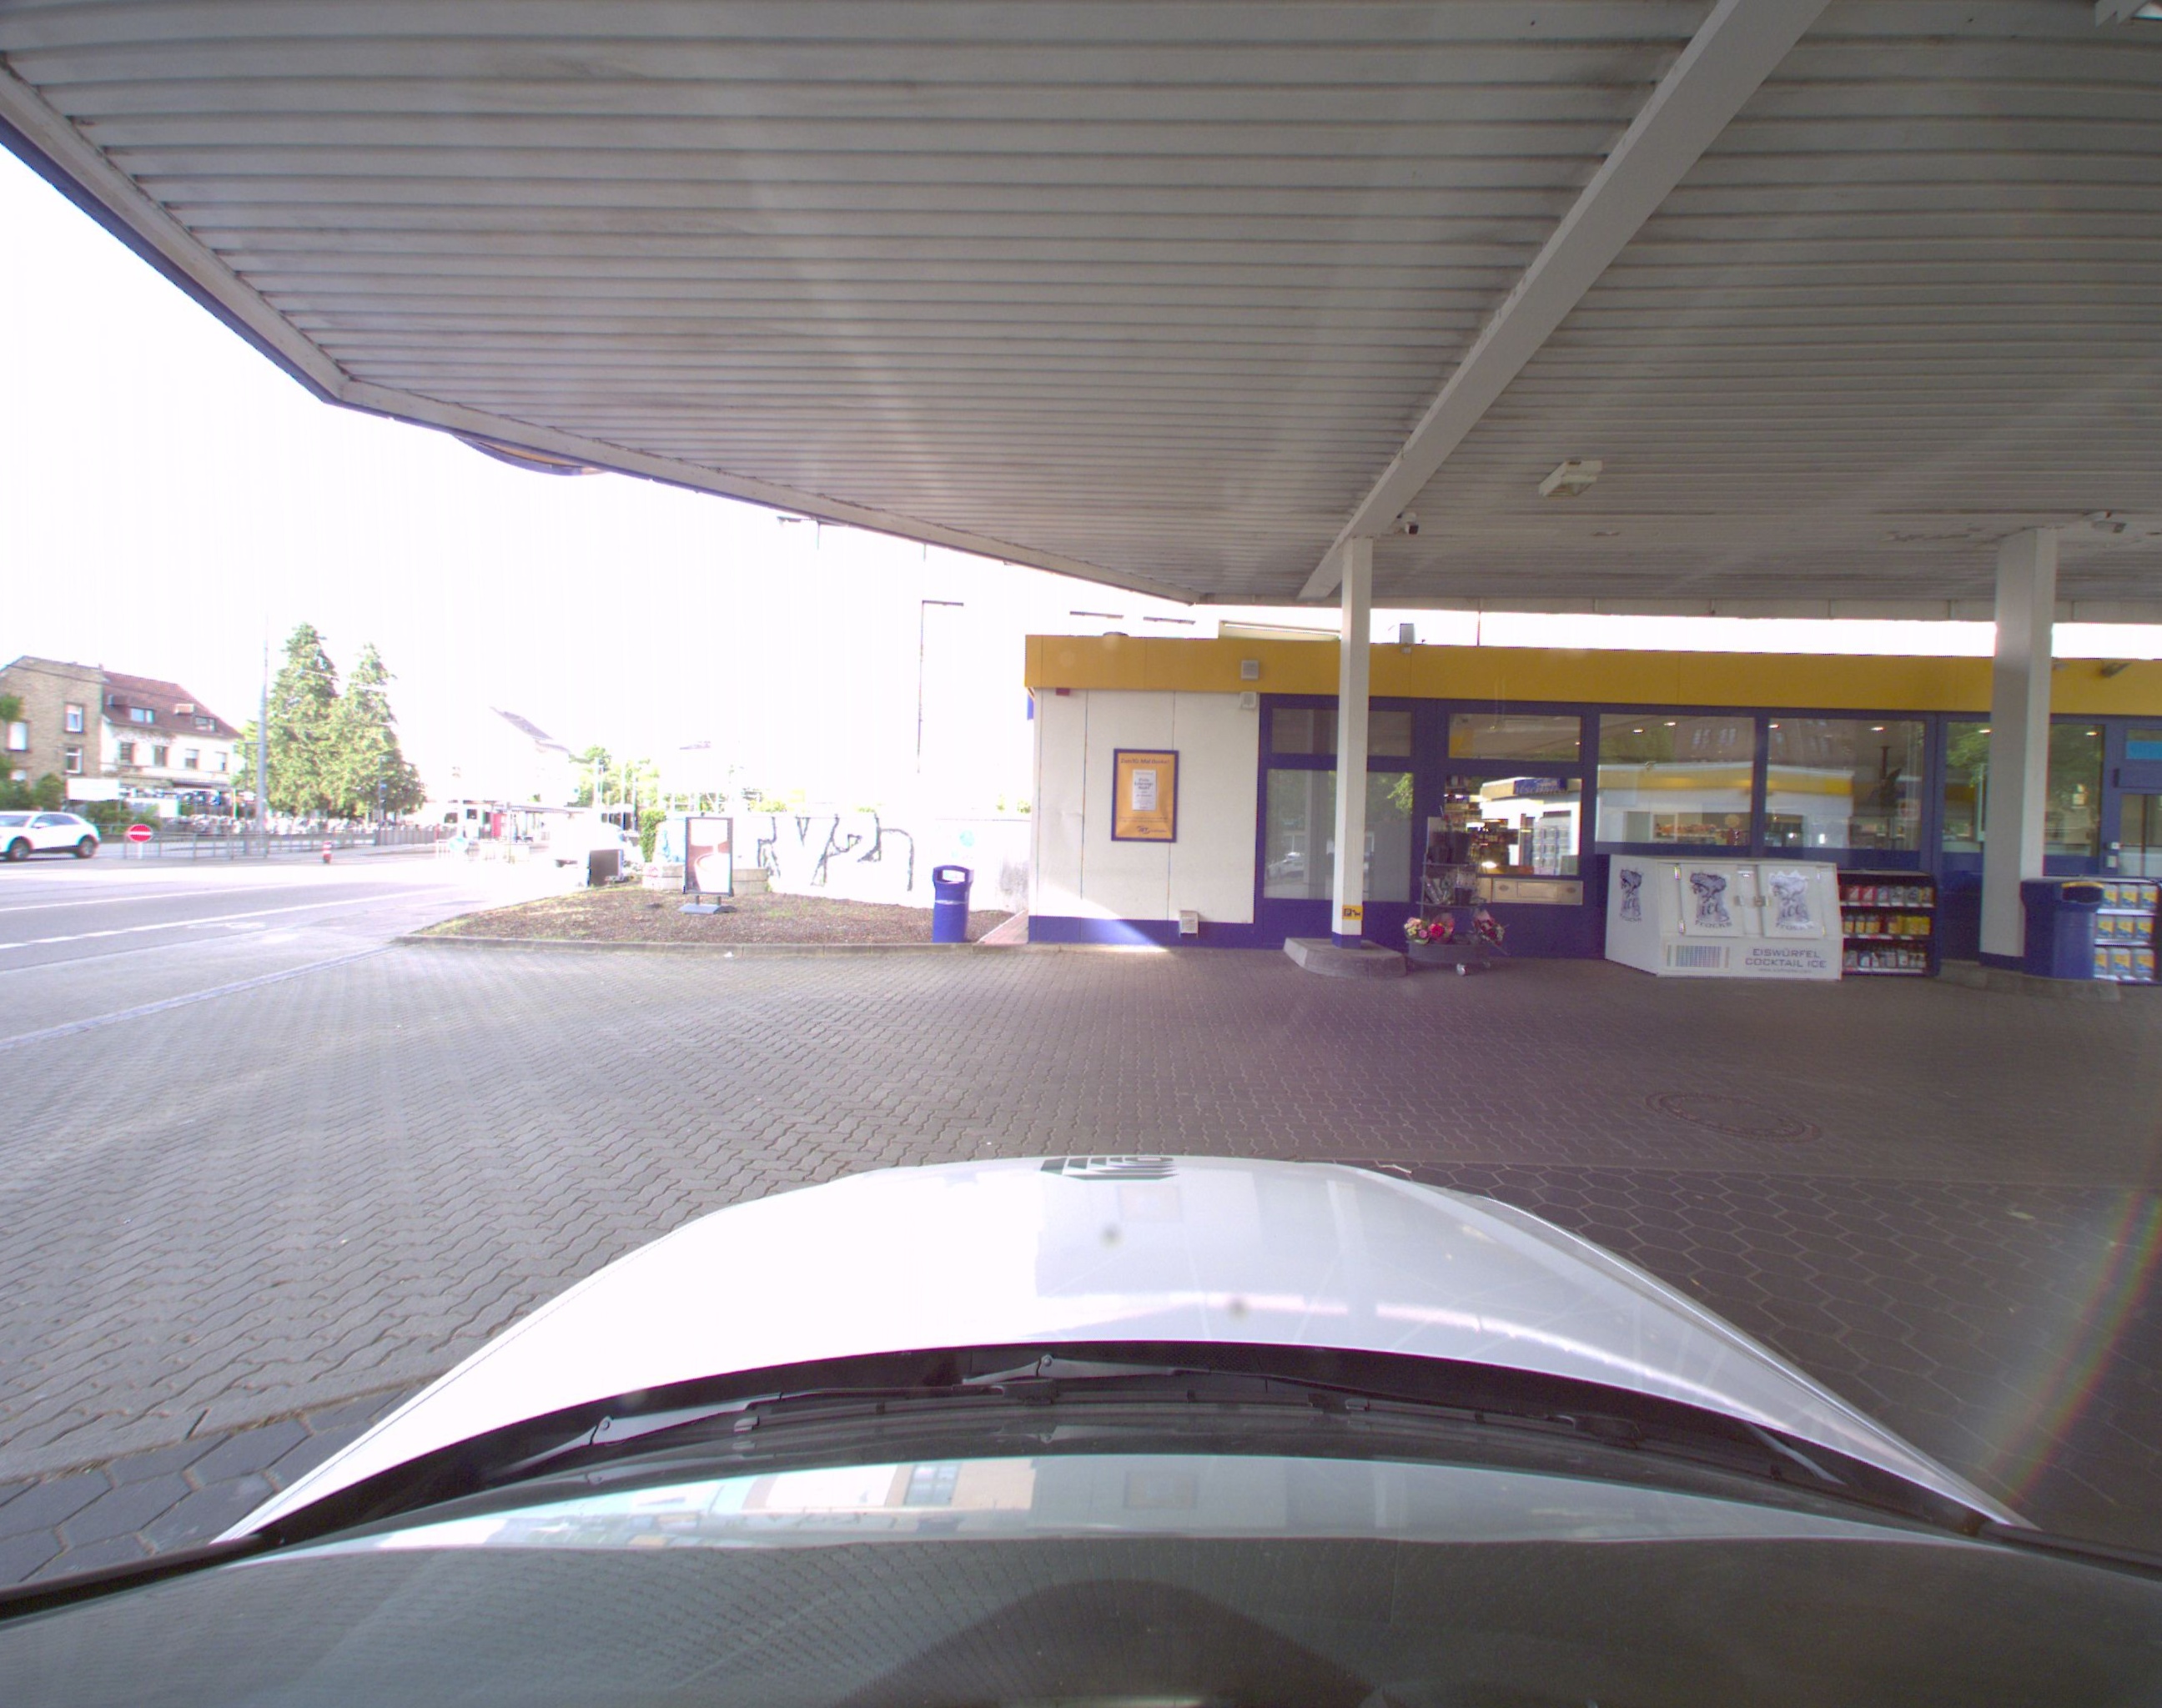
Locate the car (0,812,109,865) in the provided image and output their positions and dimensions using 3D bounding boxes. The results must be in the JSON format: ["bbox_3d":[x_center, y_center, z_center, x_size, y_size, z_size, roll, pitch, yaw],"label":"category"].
[{"bbox_3d":[-34.131,-0.535,26.084,1.841,1.576,4.354,0,2,-19],"label":"car"}]

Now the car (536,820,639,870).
[{"bbox_3d":[-20.136,-0.363,33.477,1.961,1.889,4.400,1,0,-7],"label":"car"}]

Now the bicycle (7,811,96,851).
[{"bbox_3d":[-41.236,-0.910,32.651,0.781,1.492,1.998,4,0,12],"label":"bicycle"}]

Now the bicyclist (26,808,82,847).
[{"bbox_3d":[-41.218,-1.044,32.702,0.781,1.492,1.099,4,0,11],"label":"bicyclist"}]
